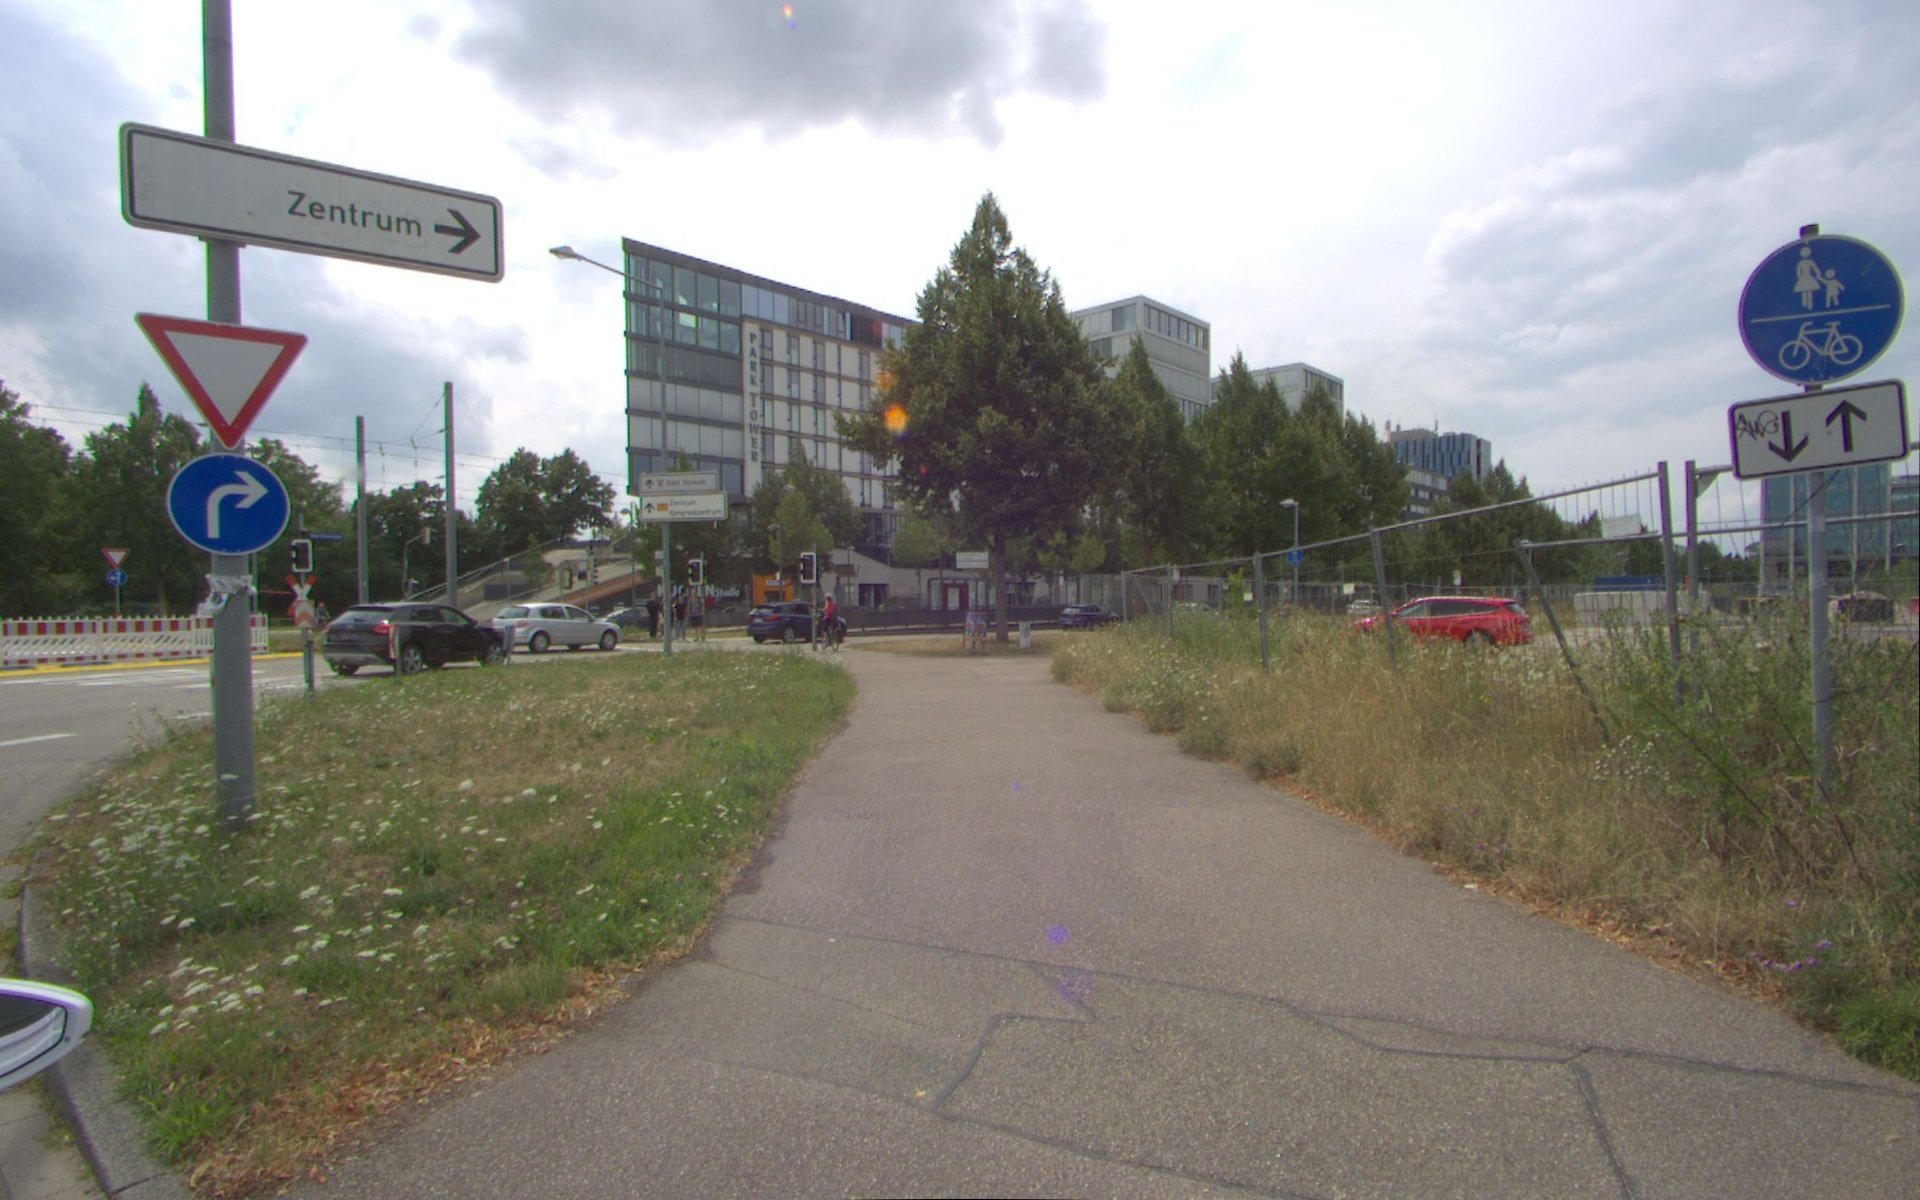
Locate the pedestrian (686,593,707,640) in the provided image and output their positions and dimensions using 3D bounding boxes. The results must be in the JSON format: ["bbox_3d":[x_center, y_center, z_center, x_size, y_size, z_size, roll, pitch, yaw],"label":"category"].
[{"bbox_3d":[-10.217,0.649,38.849,0.546,1.805,0.576,1,1,37],"label":"pedestrian"}]

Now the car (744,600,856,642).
[{"bbox_3d":[-6.250,0.774,39.412,1.712,1.554,4.338,0,0,39],"label":"car"}]

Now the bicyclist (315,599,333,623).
[{"bbox_3d":[-35.424,0.596,55.781,0.665,1.334,0.637,1,1,32],"label":"bicyclist"}]

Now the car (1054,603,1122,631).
[{"bbox_3d":[7.062,0.910,55.092,1.780,1.517,4.084,0,0,40],"label":"car"}]

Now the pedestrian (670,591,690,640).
[{"bbox_3d":[-10.954,0.609,39.125,0.546,1.887,0.527,1,1,37],"label":"pedestrian"}]

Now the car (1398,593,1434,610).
[{"bbox_3d":[44.692,0.195,98.167,1.977,1.639,4.713,0,0,41],"label":"car"}]

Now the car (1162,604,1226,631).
[{"bbox_3d":[13.695,0.980,58.402,1.782,1.517,4.223,0,0,43],"label":"car"}]

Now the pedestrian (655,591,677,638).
[{"bbox_3d":[-11.340,0.557,38.592,0.546,1.805,0.629,1,1,37],"label":"pedestrian"}]

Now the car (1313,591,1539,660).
[{"bbox_3d":[11.946,0.623,25.860,5.072,1.625,1.777,0,0,37],"label":"car"}]

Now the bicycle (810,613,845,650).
[{"bbox_3d":[-4.407,1.021,33.270,0.778,1.183,2.037,-1,0,-19],"label":"bicycle"}]

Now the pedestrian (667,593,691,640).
[{"bbox_3d":[-10.751,0.628,38.288,0.546,1.805,0.685,1,1,37],"label":"pedestrian"}]

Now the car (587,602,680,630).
[{"bbox_3d":[-18.208,0.881,55.979,1.829,1.477,4.696,1,0,43],"label":"car"}]

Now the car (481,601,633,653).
[{"bbox_3d":[-12.255,0.776,30.758,1.801,1.482,4.245,0,0,26],"label":"car"}]

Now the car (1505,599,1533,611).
[{"bbox_3d":[63.645,0.531,113.977,1.978,1.392,3.966,0,0,42],"label":"car"}]

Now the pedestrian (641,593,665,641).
[{"bbox_3d":[-11.656,0.633,38.006,0.546,1.805,0.685,1,1,37],"label":"pedestrian"}]

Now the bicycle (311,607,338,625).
[{"bbox_3d":[-35.419,0.887,55.787,1.732,1.020,0.650,0,0,33],"label":"bicycle"}]

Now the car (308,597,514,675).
[{"bbox_3d":[-11.735,0.705,21.761,1.708,1.539,4.144,0,0,10],"label":"car"}]

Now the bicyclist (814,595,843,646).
[{"bbox_3d":[-4.359,0.660,33.113,0.778,1.649,1.047,-1,1,-18],"label":"bicyclist"}]

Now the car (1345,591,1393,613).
[{"bbox_3d":[32.373,0.178,79.182,1.978,1.639,4.711,0,0,43],"label":"car"}]
